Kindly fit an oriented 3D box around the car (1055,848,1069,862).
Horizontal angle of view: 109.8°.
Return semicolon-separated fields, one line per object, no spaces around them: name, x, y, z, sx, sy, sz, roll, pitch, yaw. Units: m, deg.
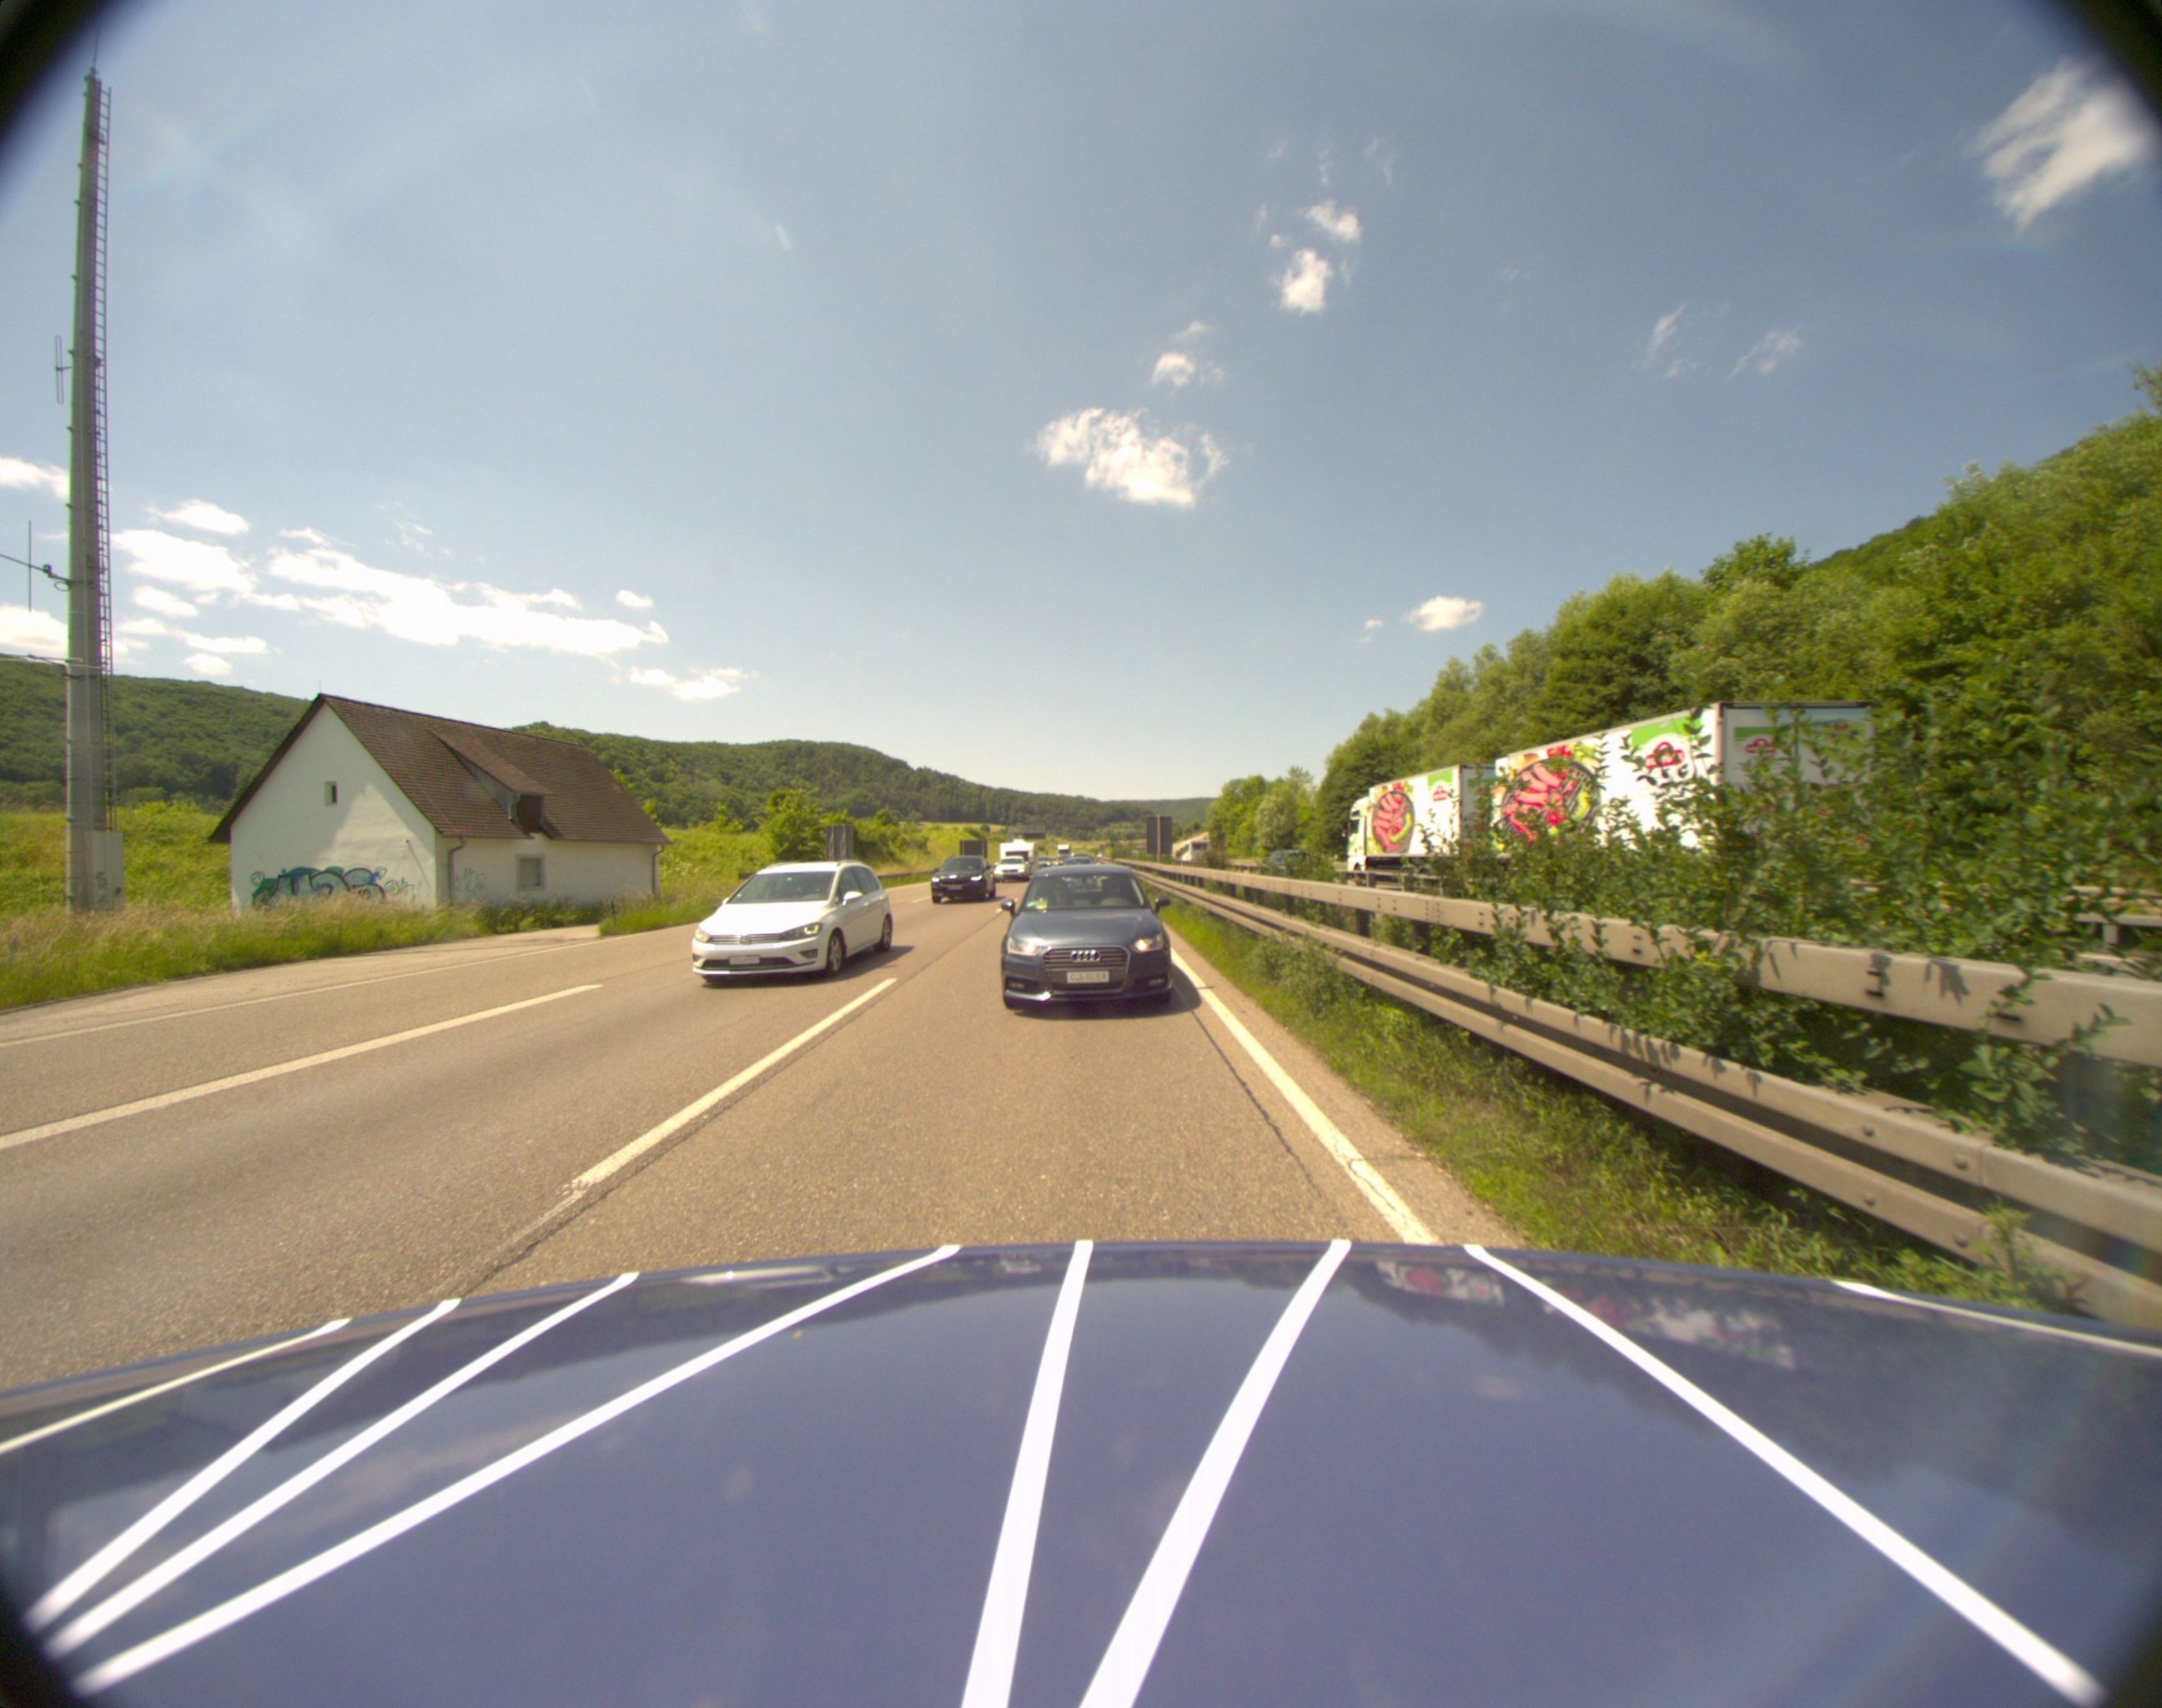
car;-2.953;0.110;116.892;1.998;2.002;3.999;-2;1;0

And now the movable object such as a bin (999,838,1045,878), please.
movable object such as a bin;-4.110;0.234;54.162;2.481;2.616;6.709;-2;0;1

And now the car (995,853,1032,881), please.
car;-4.129;0.768;47.302;1.821;1.574;4.000;-2;0;1

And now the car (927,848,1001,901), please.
car;-4.161;0.698;27.661;1.893;1.761;4.172;-1;0;2

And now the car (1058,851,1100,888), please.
car;-0.040;0.694;36.036;1.835;1.587;4.000;-1;0;2

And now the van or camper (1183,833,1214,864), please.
van or camper;13.272;-0.607;86.121;2.596;3.316;7.648;-1;0;2

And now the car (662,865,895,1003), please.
car;-4.139;0.992;11.186;1.777;1.532;4.054;-2;0;0

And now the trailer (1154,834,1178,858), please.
trailer;14.955;-1.406;134.919;2.789;3.976;14.158;-1;0;1

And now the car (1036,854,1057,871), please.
car;-3.323;0.819;73.208;1.711;1.542;4.000;-1;0;1

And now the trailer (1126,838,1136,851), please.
trailer;16.019;-2.987;245.598;2.587;3.982;12.601;-2;0;1

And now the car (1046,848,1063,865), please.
car;-3.287;0.292;94.304;1.999;2.002;3.999;-1;0;-2

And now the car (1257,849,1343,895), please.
car;8.635;0.666;30.415;1.998;1.631;5.031;-2;0;1

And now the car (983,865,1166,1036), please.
car;0.070;0.893;8.742;1.591;1.401;4.001;-2;0;4

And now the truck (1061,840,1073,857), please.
truck;-3.022;-1.129;169.385;2.336;3.623;7.005;-2;0;1

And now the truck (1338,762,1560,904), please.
truck;12.313;-0.621;26.961;2.876;3.983;10.170;-2;0;0

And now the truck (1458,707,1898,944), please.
truck;12.238;-0.506;17.254;2.876;3.957;9.030;0;0;0
